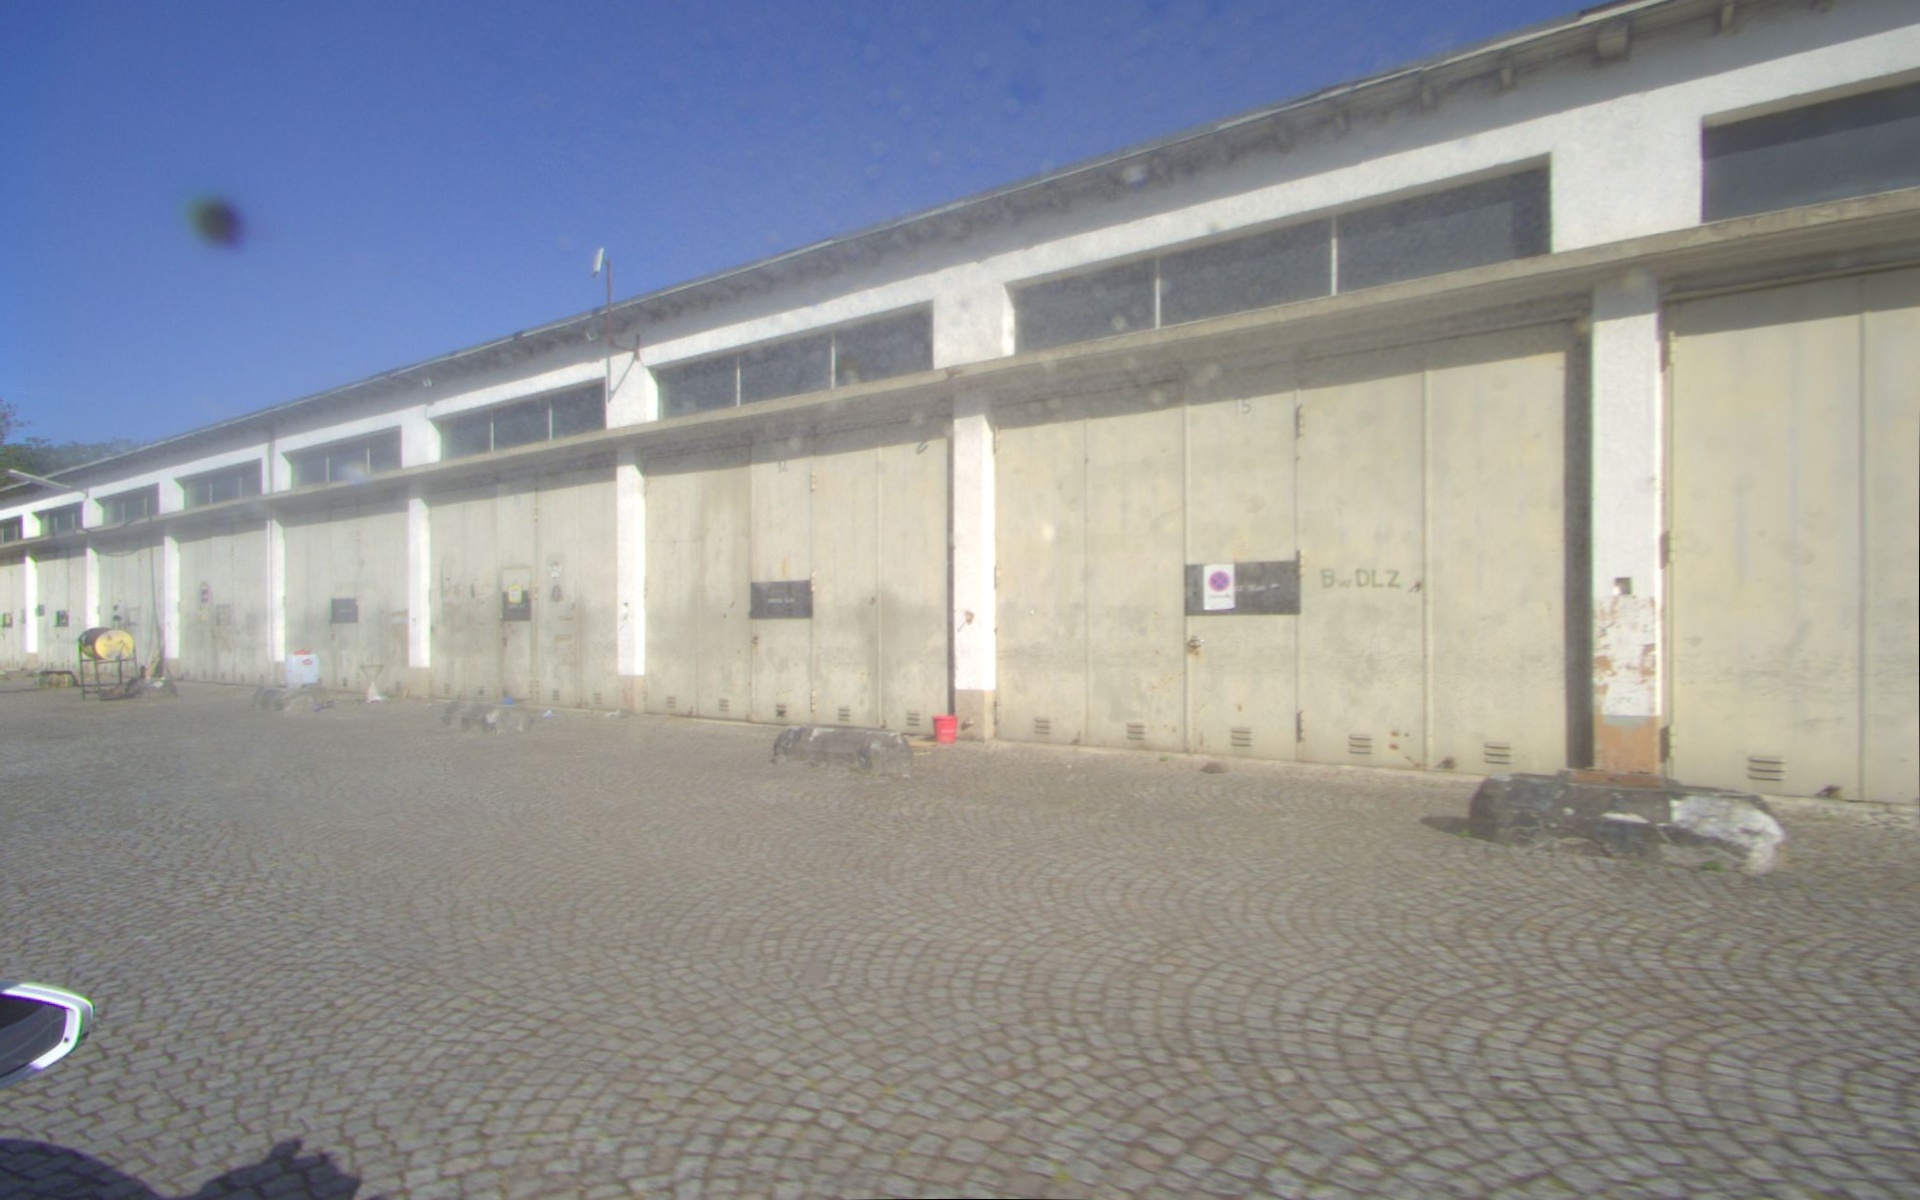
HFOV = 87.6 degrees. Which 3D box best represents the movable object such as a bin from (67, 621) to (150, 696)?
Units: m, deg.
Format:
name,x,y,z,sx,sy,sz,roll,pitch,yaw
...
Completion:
name,x,y,z,sx,sy,sz,roll,pitch,yaw
movable object such as a bin,-16.017,1.073,18.836,1.261,1.349,0.822,0,-1,30
